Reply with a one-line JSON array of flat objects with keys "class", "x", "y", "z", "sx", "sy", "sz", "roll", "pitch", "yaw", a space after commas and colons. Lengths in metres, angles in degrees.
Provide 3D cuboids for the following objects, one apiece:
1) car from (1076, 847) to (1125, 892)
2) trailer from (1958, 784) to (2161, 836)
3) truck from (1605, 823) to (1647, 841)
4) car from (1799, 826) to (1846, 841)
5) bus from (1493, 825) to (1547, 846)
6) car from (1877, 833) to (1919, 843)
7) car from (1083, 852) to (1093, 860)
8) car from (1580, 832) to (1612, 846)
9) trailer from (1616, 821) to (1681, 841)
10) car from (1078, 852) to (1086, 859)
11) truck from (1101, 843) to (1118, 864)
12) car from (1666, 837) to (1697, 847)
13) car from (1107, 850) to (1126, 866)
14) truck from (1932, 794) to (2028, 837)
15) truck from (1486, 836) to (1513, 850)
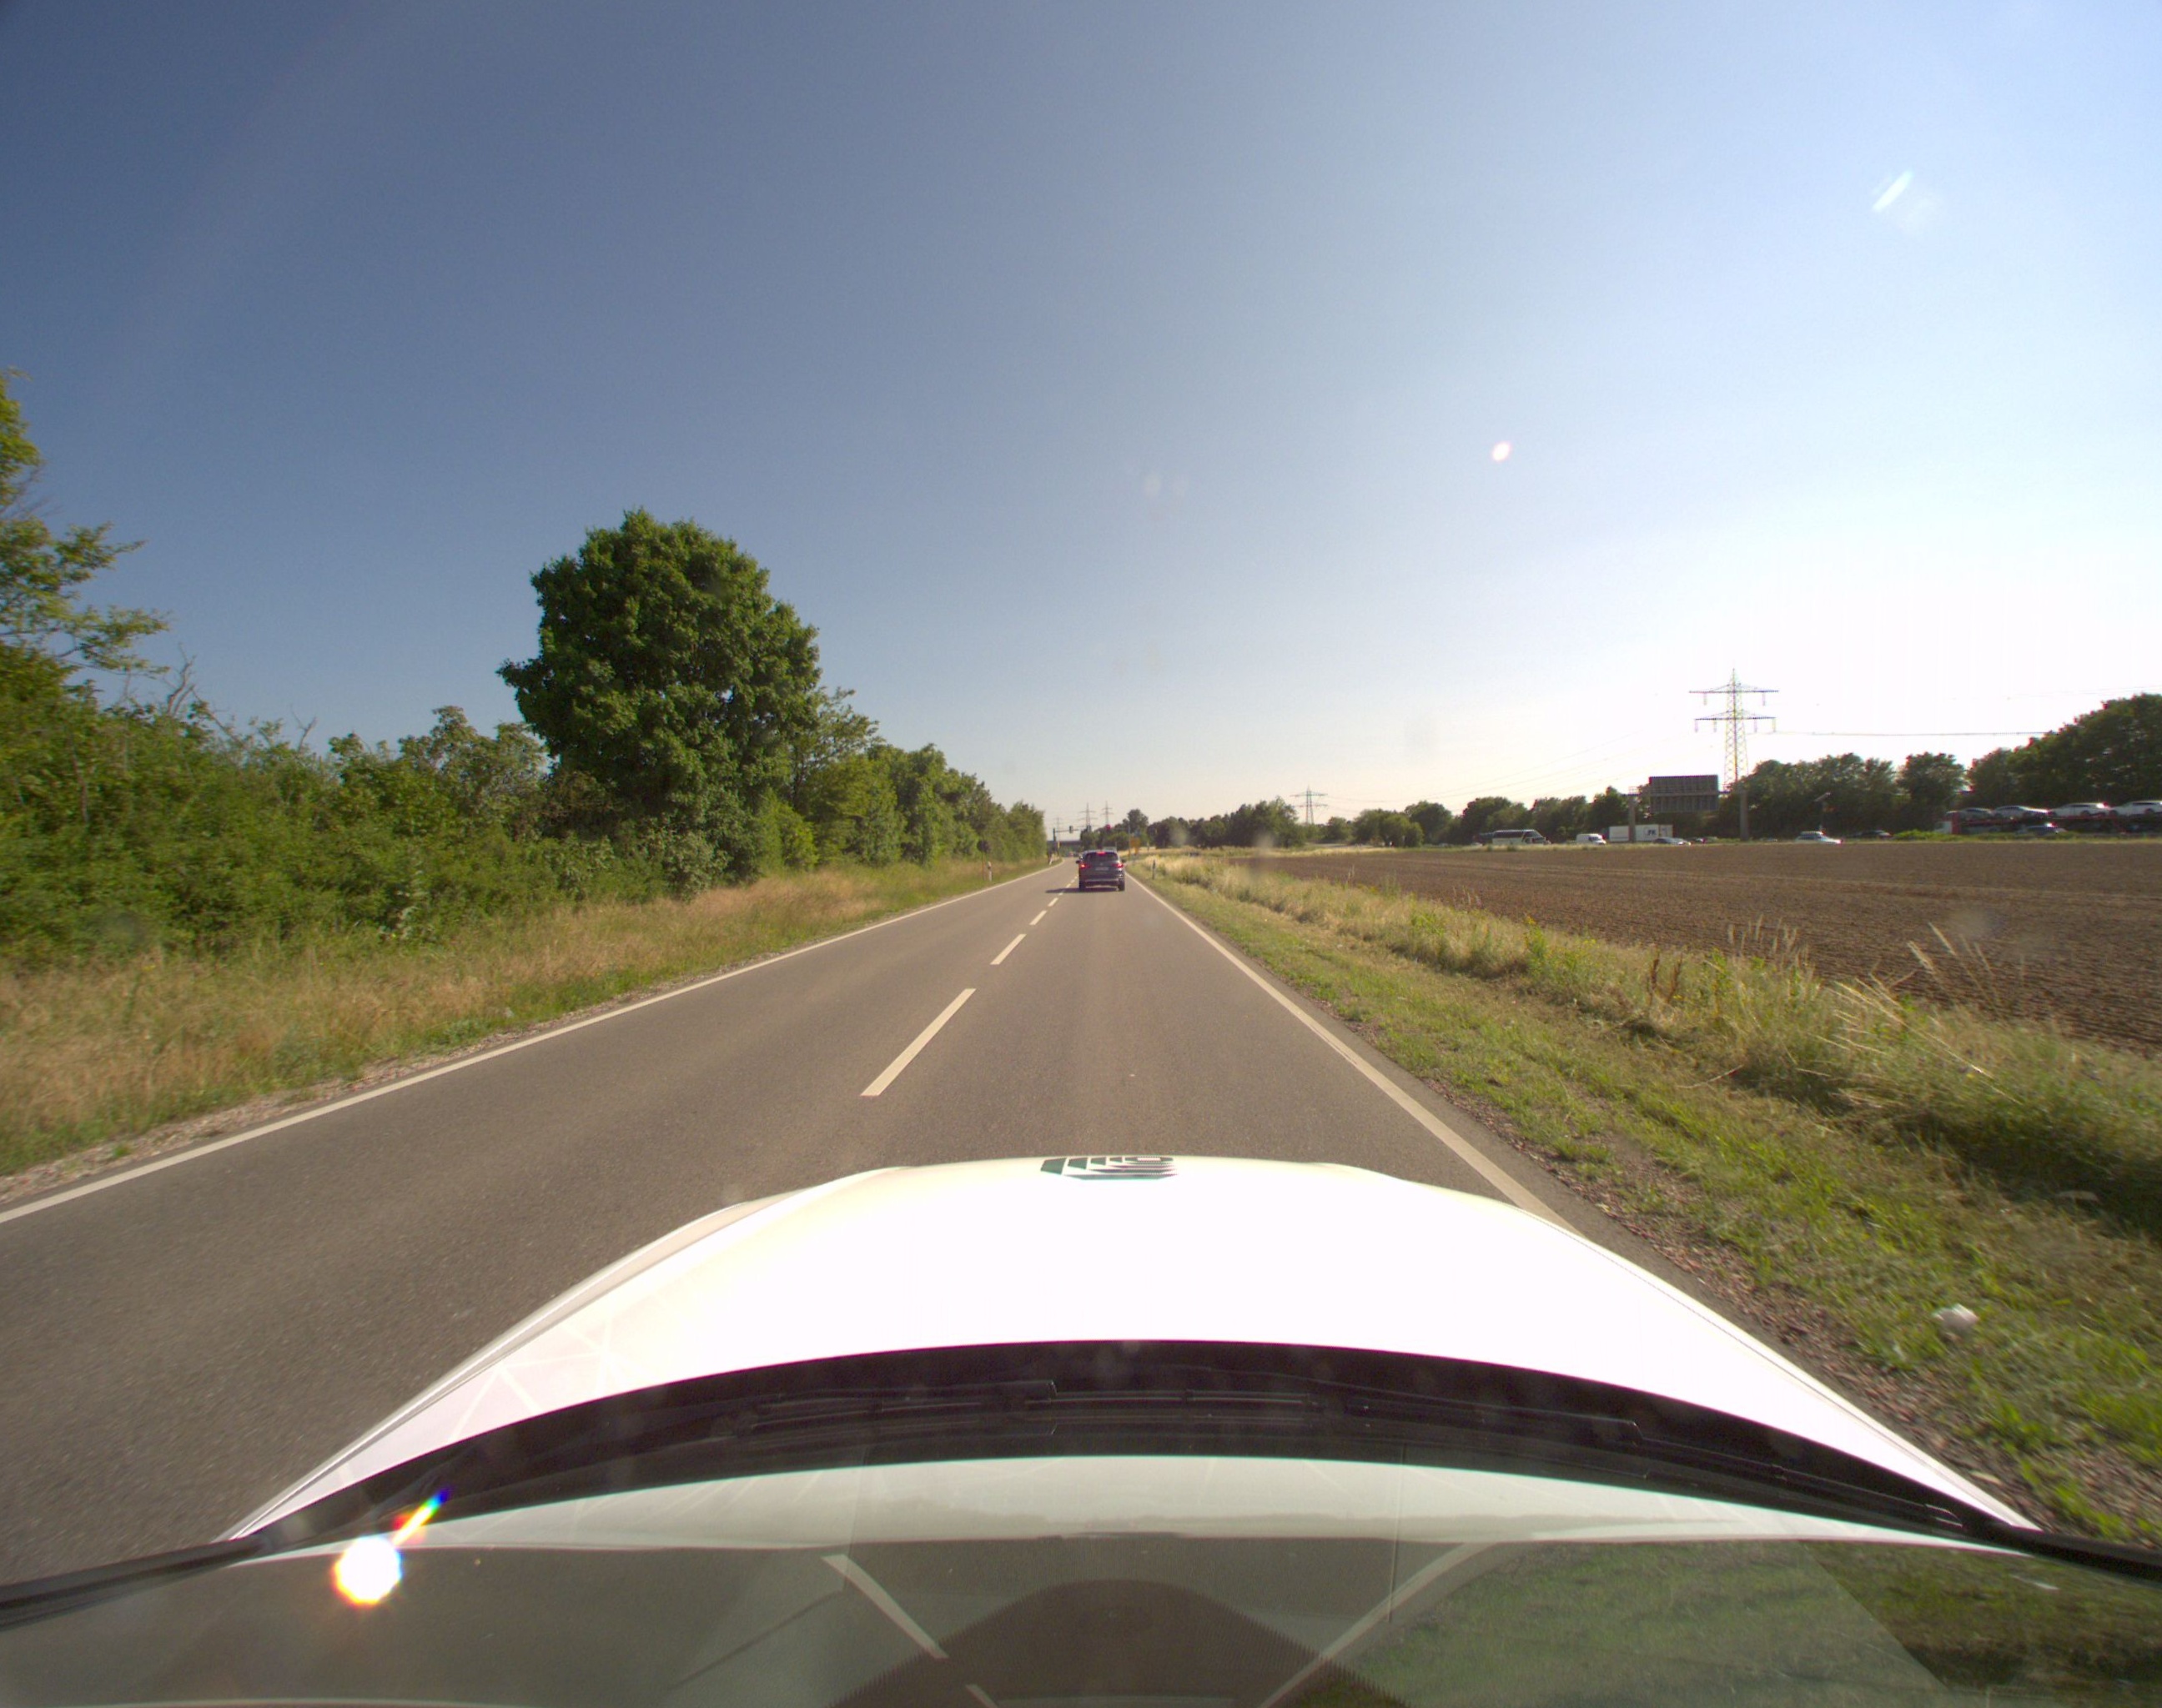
[{"class": "car", "x": 0.782, "y": 0.560, "z": 32.585, "sx": 1.779, "sy": 1.629, "sz": 4.001, "roll": -1, "pitch": 0, "yaw": 1}, {"class": "trailer", "x": 103.120, "y": -4.378, "z": 85.288, "sx": 3.410, "sy": 4.452, "sz": 17.559, "roll": -2, "pitch": 0, "yaw": -1}, {"class": "truck", "x": 104.173, "y": -4.152, "z": 155.772, "sx": 3.273, "sy": 3.267, "sz": 6.978, "roll": -2, "pitch": 0, "yaw": 0}, {"class": "car", "x": 84.302, "y": -2.318, "z": 92.673, "sx": 1.696, "sy": 1.543, "sz": 4.198, "roll": 0, "pitch": 0, "yaw": 1}, {"class": "bus", "x": 84.965, "y": -3.508, "z": 158.043, "sx": 2.455, "sy": 3.803, "sz": 14.541, "roll": -2, "pitch": 1, "yaw": -1}, {"class": "car", "x": 96.452, "y": -1.877, "z": 96.230, "sx": 1.390, "sy": 1.151, "sz": 3.580, "roll": 0, "pitch": 1, "yaw": -1}, {"class": "car", "x": 1.444, "y": 0.305, "z": 166.036, "sx": 1.812, "sy": 1.540, "sz": 3.997, "roll": -2, "pitch": 0, "yaw": -2}, {"class": "car", "x": 88.405, "y": -2.558, "z": 139.860, "sx": 1.986, "sy": 2.372, "sz": 5.523, "roll": 0, "pitch": 0, "yaw": 1}, {"class": "trailer", "x": 104.166, "y": -4.160, "z": 149.782, "sx": 3.273, "sy": 3.267, "sz": 12.455, "roll": -2, "pitch": 0, "yaw": 0}, {"class": "car", "x": 0.271, "y": 0.320, "z": 186.243, "sx": 1.680, "sy": 1.380, "sz": 3.530, "roll": -1, "pitch": 0, "yaw": -2}, {"class": "truck", "x": 4.178, "y": -0.062, "z": 118.445, "sx": 2.328, "sy": 3.066, "sz": 5.813, "roll": -1, "pitch": 0, "yaw": 2}, {"class": "car", "x": 88.467, "y": -1.745, "z": 120.014, "sx": 1.696, "sy": 1.373, "sz": 4.096, "roll": 0, "pitch": 0, "yaw": 2}, {"class": "car", "x": 3.643, "y": 0.387, "z": 83.753, "sx": 1.779, "sy": 1.543, "sz": 4.001, "roll": -1, "pitch": 0, "yaw": 1}, {"class": "truck", "x": 103.054, "y": -4.361, "z": 93.546, "sx": 3.411, "sy": 4.452, "sz": 6.704, "roll": -2, "pitch": 0, "yaw": -1}, {"class": "truck", "x": 103.633, "y": -2.781, "z": 201.841, "sx": 3.273, "sy": 3.267, "sz": 6.429, "roll": -2, "pitch": 1, "yaw": 0}]
